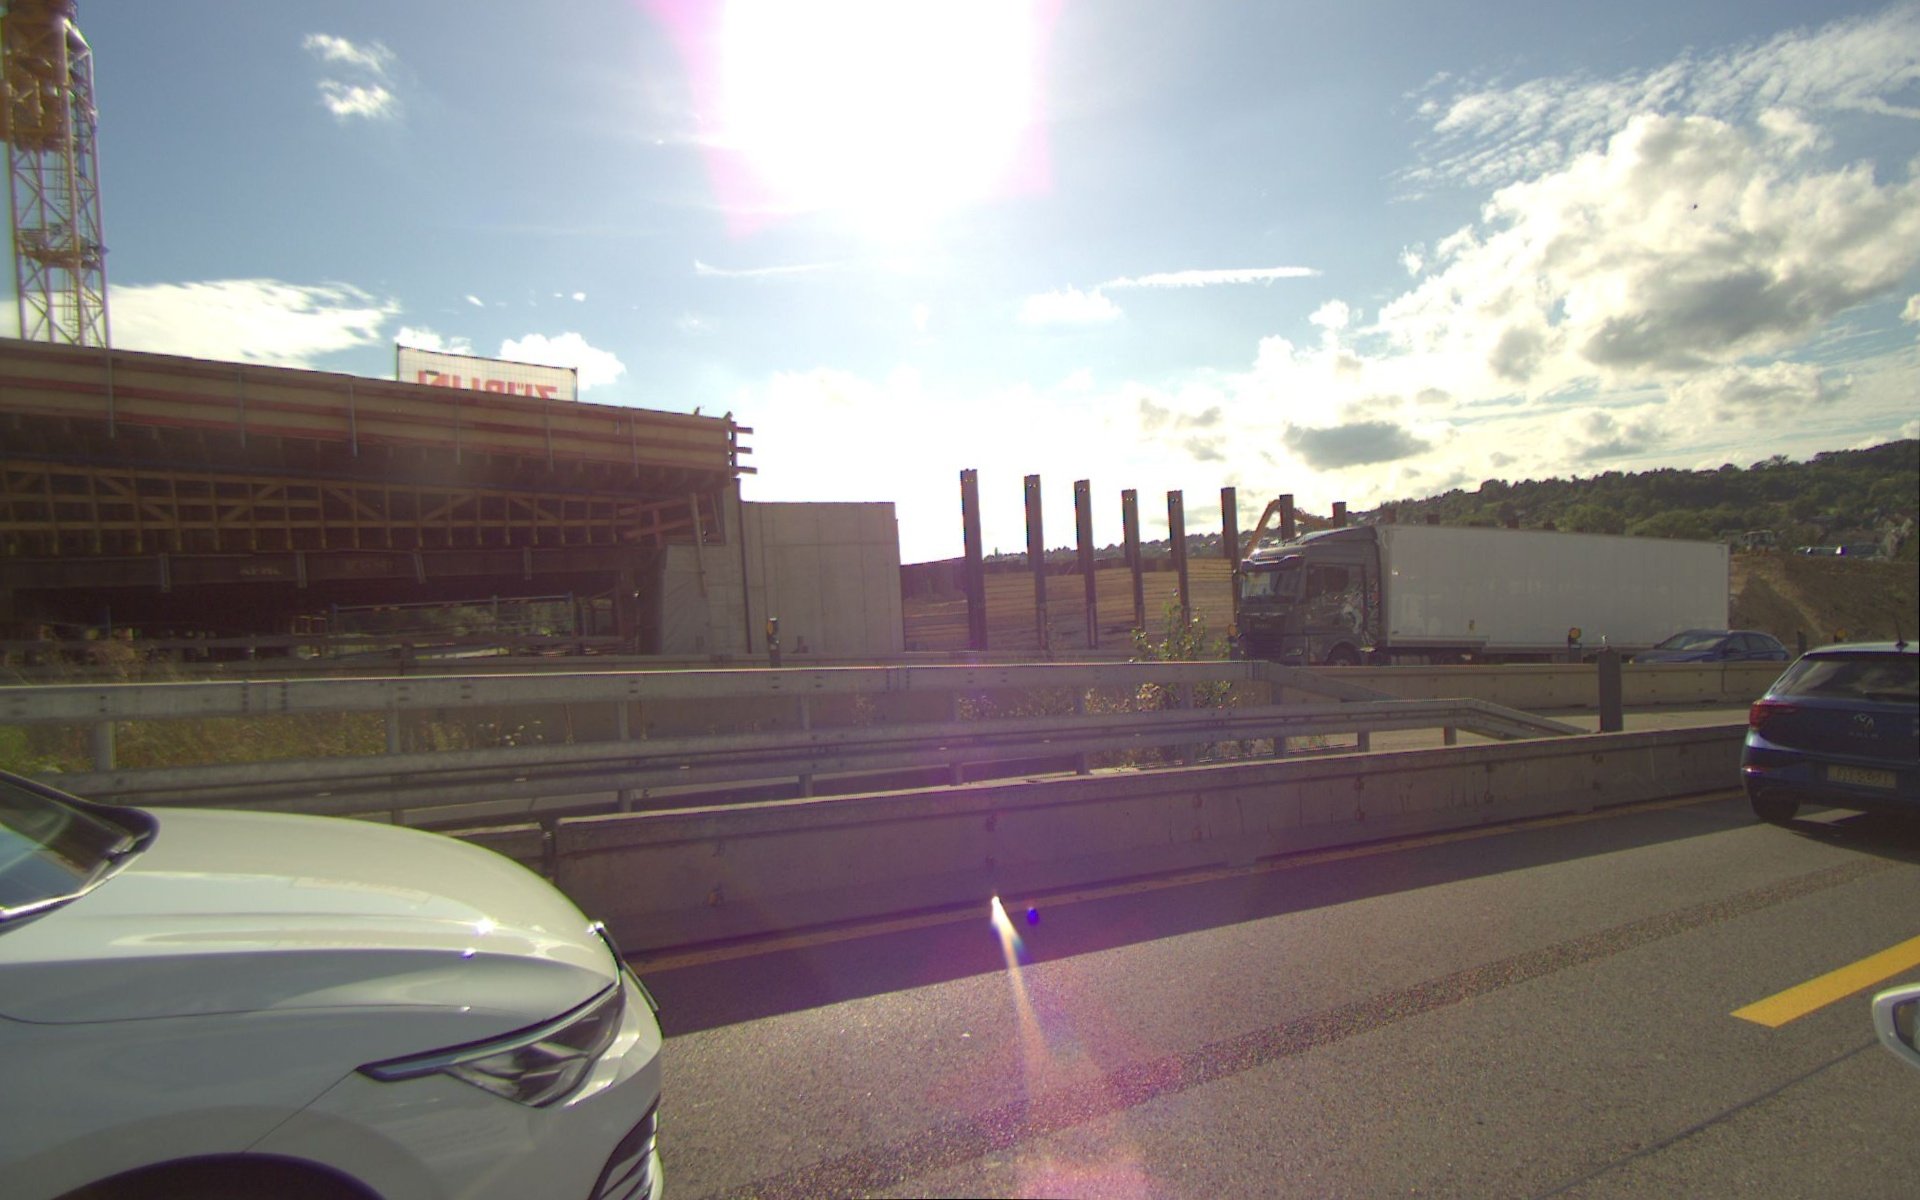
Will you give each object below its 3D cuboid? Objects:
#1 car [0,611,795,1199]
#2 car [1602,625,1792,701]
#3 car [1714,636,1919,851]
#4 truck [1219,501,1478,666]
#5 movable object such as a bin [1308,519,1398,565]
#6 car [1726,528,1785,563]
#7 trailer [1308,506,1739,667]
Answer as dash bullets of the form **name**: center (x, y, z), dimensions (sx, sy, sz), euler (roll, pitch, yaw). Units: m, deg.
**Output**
- **car**: center (-2.670, 0.764, 1.483), dimensions (4.464, 1.510, 1.762), euler (2, -3, -30)
- **car**: center (18.422, 1.560, 25.136), dimensions (4.061, 1.749, 1.990), euler (2, -1, -21)
- **car**: center (7.977, 1.041, 8.036), dimensions (3.953, 1.440, 1.714), euler (2, -3, -30)
- **truck**: center (10.049, -0.305, 26.028), dimensions (5.929, 3.838, 2.772), euler (2, -1, -21)
- **movable object such as a bin**: center (33.338, -4.860, 85.376), dimensions (4.442, 3.313, 5.739), euler (2, -1, -20)
- **car**: center (63.354, -4.286, 79.929), dimensions (5.265, 2.167, 1.983), euler (2, -7, -33)
- **trailer**: center (16.308, -0.140, 28.576), dimensions (13.603, 3.892, 2.815), euler (2, -1, -22)
